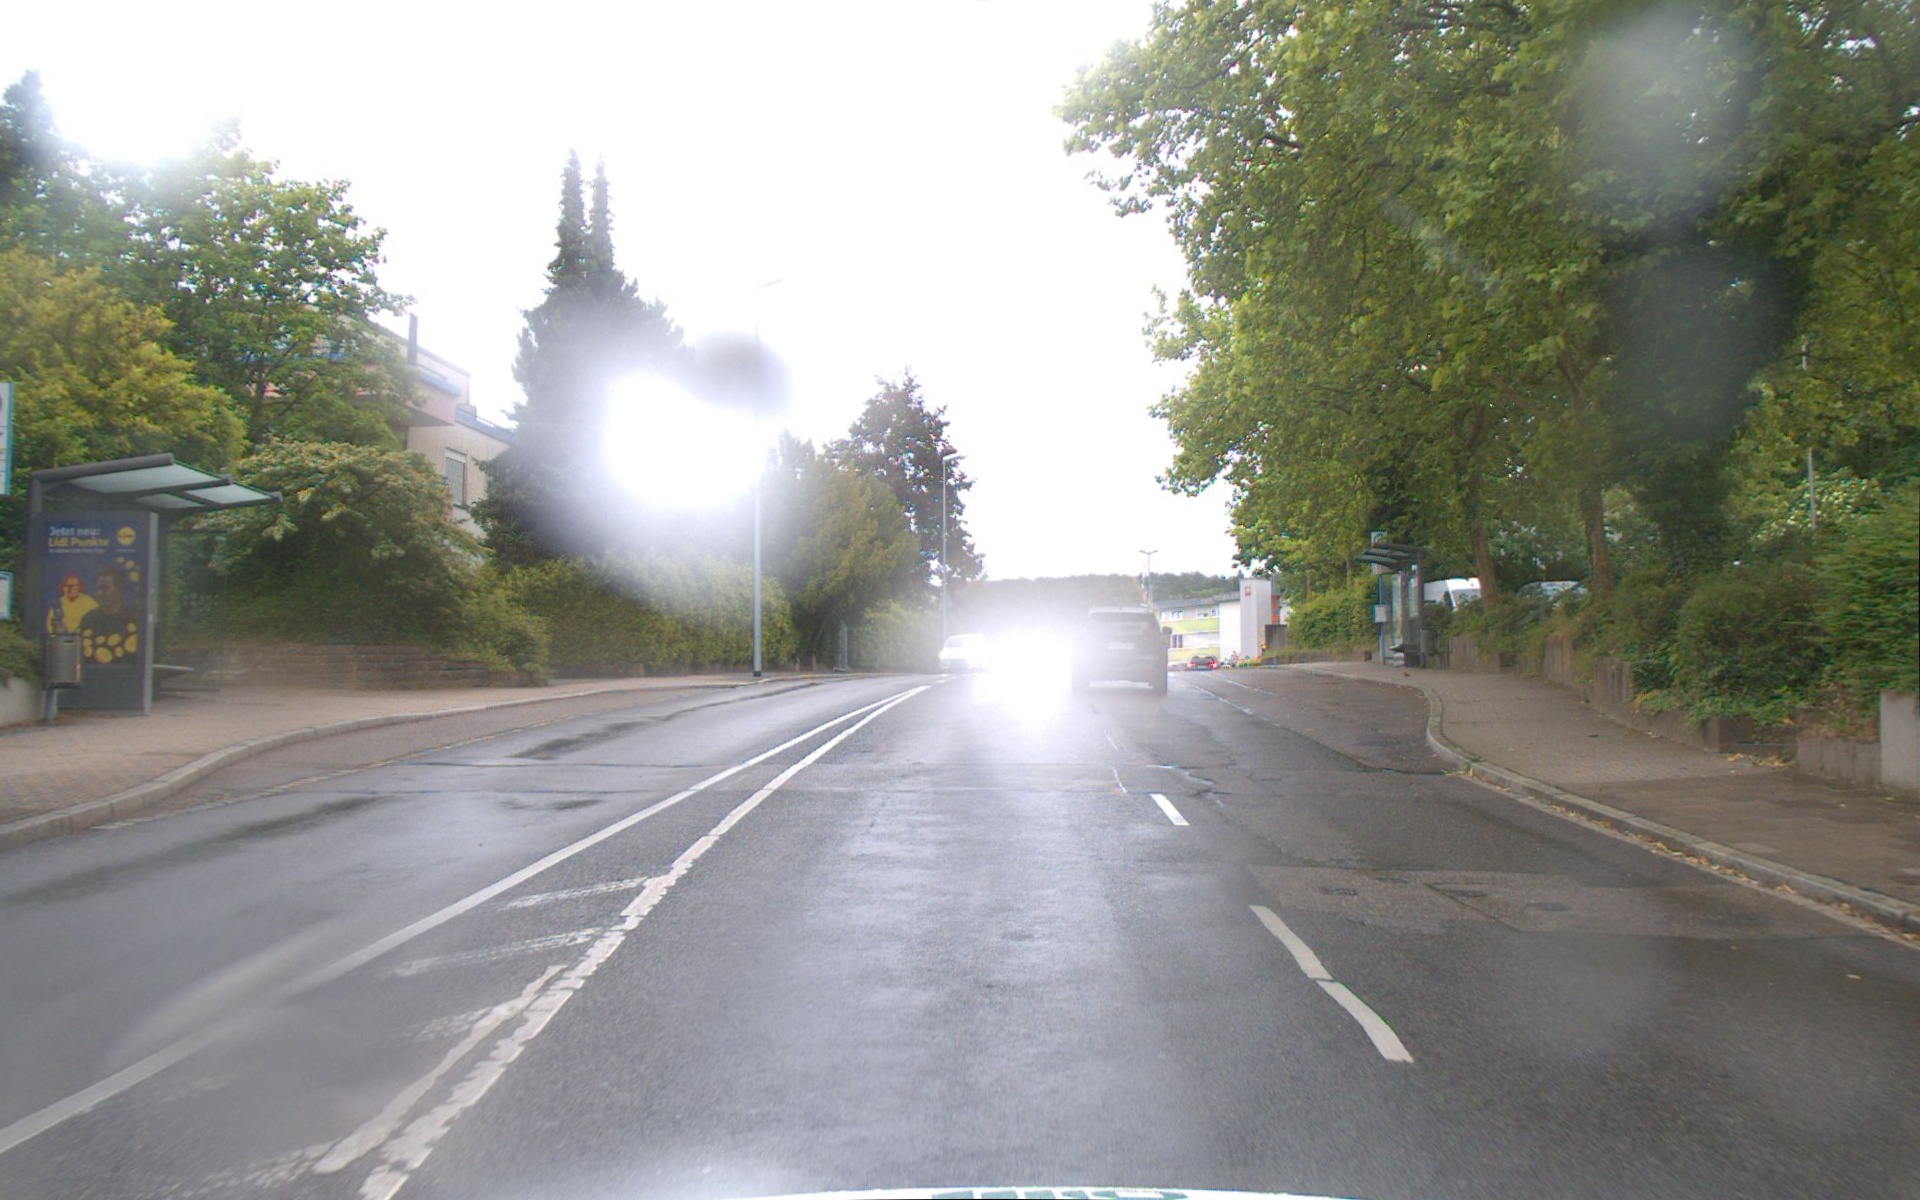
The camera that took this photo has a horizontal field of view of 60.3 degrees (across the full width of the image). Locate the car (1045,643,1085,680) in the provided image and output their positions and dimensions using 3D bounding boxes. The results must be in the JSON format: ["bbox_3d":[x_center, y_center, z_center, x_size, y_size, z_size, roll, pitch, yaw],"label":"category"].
[{"bbox_3d":[6.077,3.522,95.360,1.824,1.950,5.032,-3,-2,8],"label":"car"}]

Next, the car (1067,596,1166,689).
[{"bbox_3d":[2.991,0.776,32.163,1.752,1.631,4.255,1,0,4],"label":"car"}]

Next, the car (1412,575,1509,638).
[{"bbox_3d":[19.370,0.237,64.235,2.003,2.324,5.015,1,0,-3],"label":"car"}]

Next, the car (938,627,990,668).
[{"bbox_3d":[0.165,1.772,62.597,1.649,1.479,3.400,-1,-1,5],"label":"car"}]

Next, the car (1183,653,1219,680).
[{"bbox_3d":[13.540,3.739,93.093,1.951,1.467,4.002,0,-2,7],"label":"car"}]

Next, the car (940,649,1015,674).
[{"bbox_3d":[1.089,3.742,100.595,4.387,1.386,1.806,1,-2,6],"label":"car"}]
